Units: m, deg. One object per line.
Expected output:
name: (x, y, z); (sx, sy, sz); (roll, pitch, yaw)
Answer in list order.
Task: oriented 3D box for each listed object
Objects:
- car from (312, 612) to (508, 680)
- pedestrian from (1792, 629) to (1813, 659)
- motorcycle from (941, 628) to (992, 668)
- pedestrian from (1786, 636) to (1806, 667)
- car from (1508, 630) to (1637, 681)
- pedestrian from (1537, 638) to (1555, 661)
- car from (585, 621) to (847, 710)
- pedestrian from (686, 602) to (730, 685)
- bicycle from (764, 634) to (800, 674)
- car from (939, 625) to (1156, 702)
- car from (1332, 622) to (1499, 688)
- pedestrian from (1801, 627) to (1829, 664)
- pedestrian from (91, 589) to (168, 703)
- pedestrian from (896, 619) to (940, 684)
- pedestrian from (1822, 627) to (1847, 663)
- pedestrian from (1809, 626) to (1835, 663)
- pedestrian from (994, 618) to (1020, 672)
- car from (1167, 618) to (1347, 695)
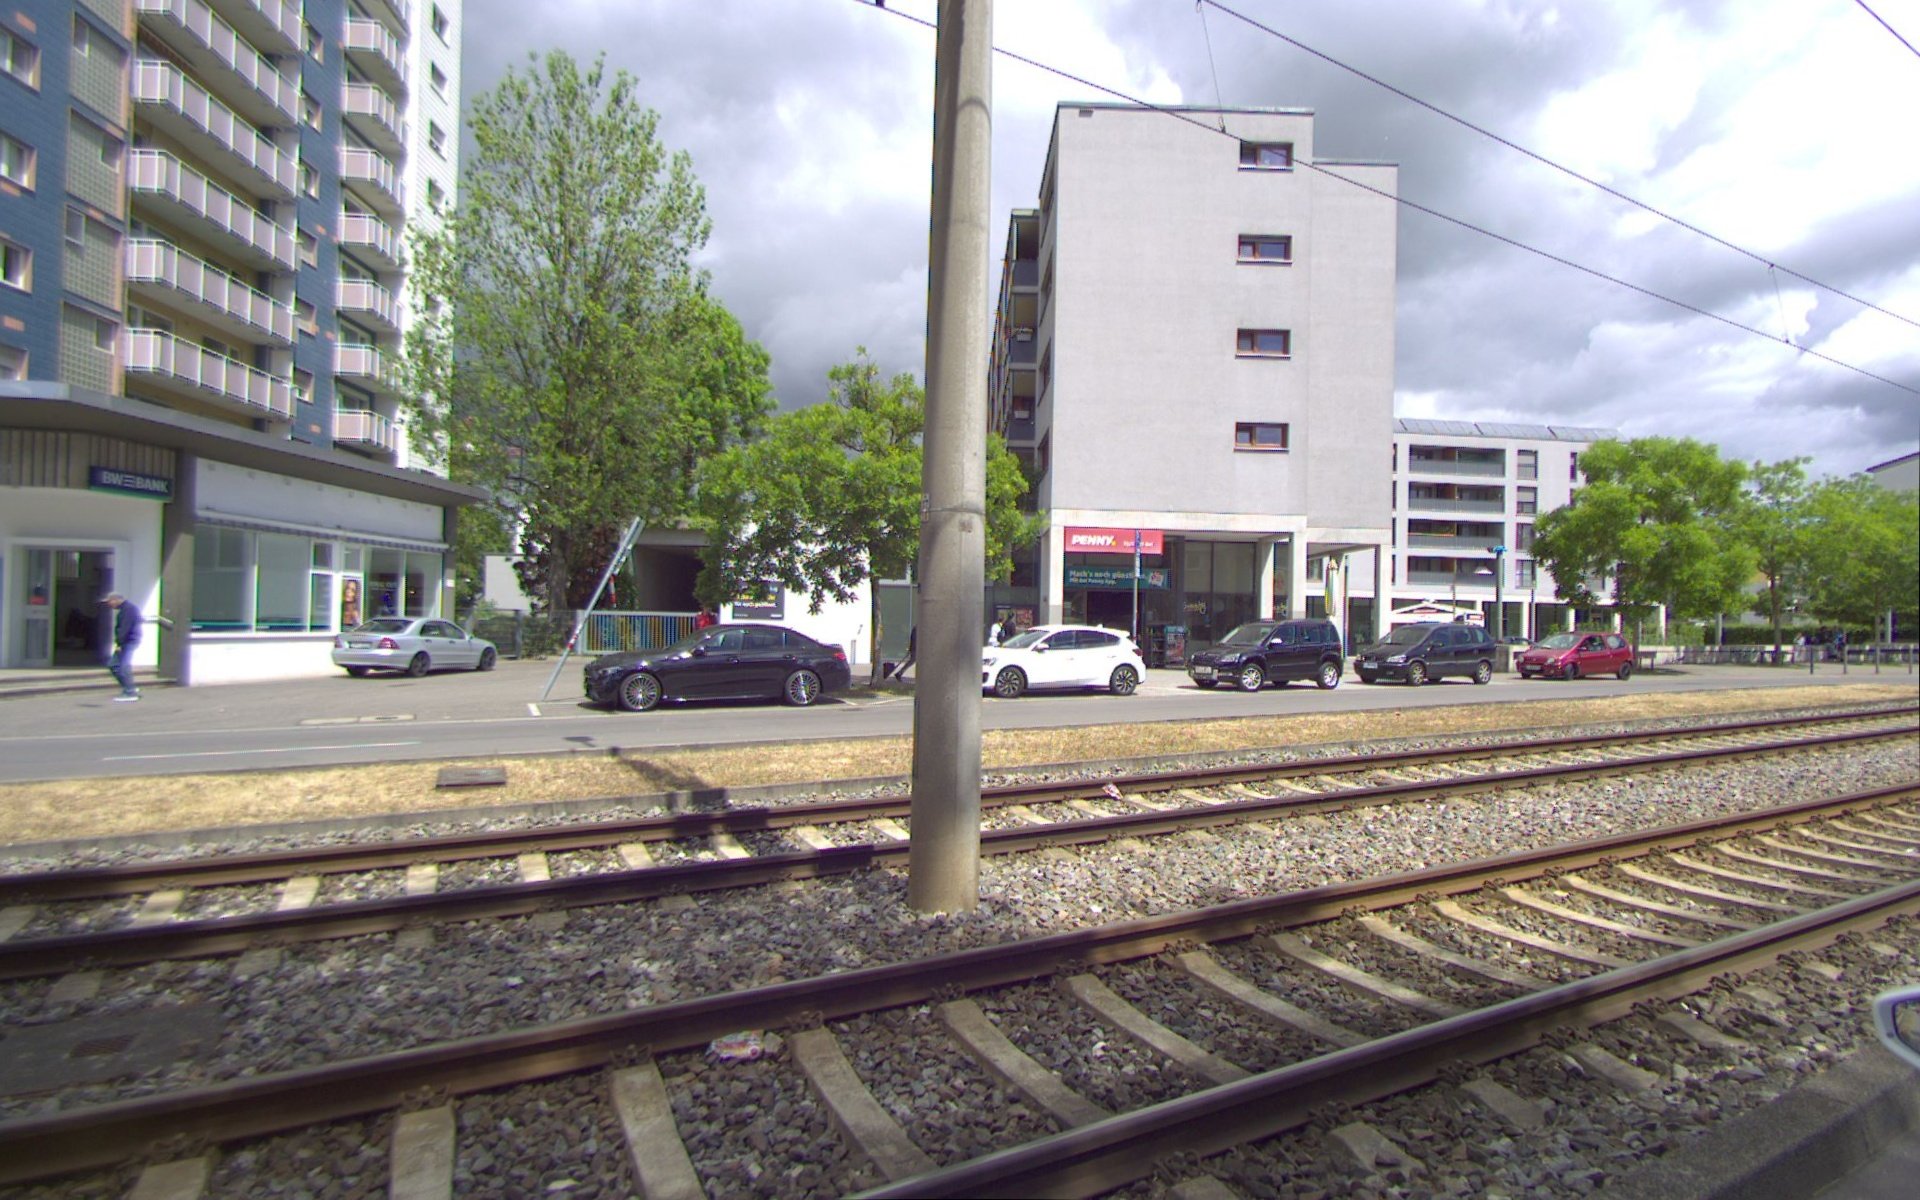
car: (-13.133, 1.093, 24.331); (1.959, 1.461, 4.359); (-1, -2, 7)
pedestrian: (36.145, 1.878, 43.104); (0.494, 1.283, 0.497); (0, -1, -24)
motorcycle: (0.175, 1.477, 31.182); (0.733, 1.194, 1.883); (0, -2, -30)
pedestrian: (42.641, 2.599, 51.222); (0.519, 1.567, 0.545); (0, -2, -7)
car: (18.471, 1.646, 30.309); (3.373, 1.445, 1.610); (0, -2, -22)
pedestrian: (28.040, 2.359, 48.080); (0.566, 1.110, 0.500); (1, -1, -3)
car: (-4.363, 1.124, 18.076); (4.322, 1.447, 1.729); (1, -2, -26)
pedestrian: (-5.646, 0.962, 22.541); (0.833, 1.816, 0.608); (0, -2, -29)
bicycle: (-5.594, 1.678, 31.630); (0.656, 1.228, 1.974); (-1, -2, 3)
car: (1.890, 1.314, 21.570); (4.337, 1.494, 1.750); (0, -2, -23)
car: (12.342, 1.448, 27.221); (4.045, 1.669, 1.988); (0, -2, -26)
pedestrian: (37.242, 1.975, 43.748); (0.687, 1.594, 0.622); (0, -2, -17)
pedestrian: (-13.746, 0.757, 16.627); (0.831, 1.816, 0.869); (-2, -2, 42)
pedestrian: (-1.031, 1.243, 24.396); (0.957, 1.554, 0.601); (0, -2, -16)
pedestrian: (38.591, 1.982, 44.348); (0.550, 1.594, 0.621); (0, -2, -23)
pedestrian: (37.841, 1.944, 44.113); (0.549, 1.594, 0.622); (0, -2, -17)
pedestrian: (1.308, 1.253, 27.811); (0.491, 1.479, 0.559); (-2, -2, 34)
car: (7.204, 1.305, 24.339); (4.052, 1.685, 1.984); (0, 0, -31)
